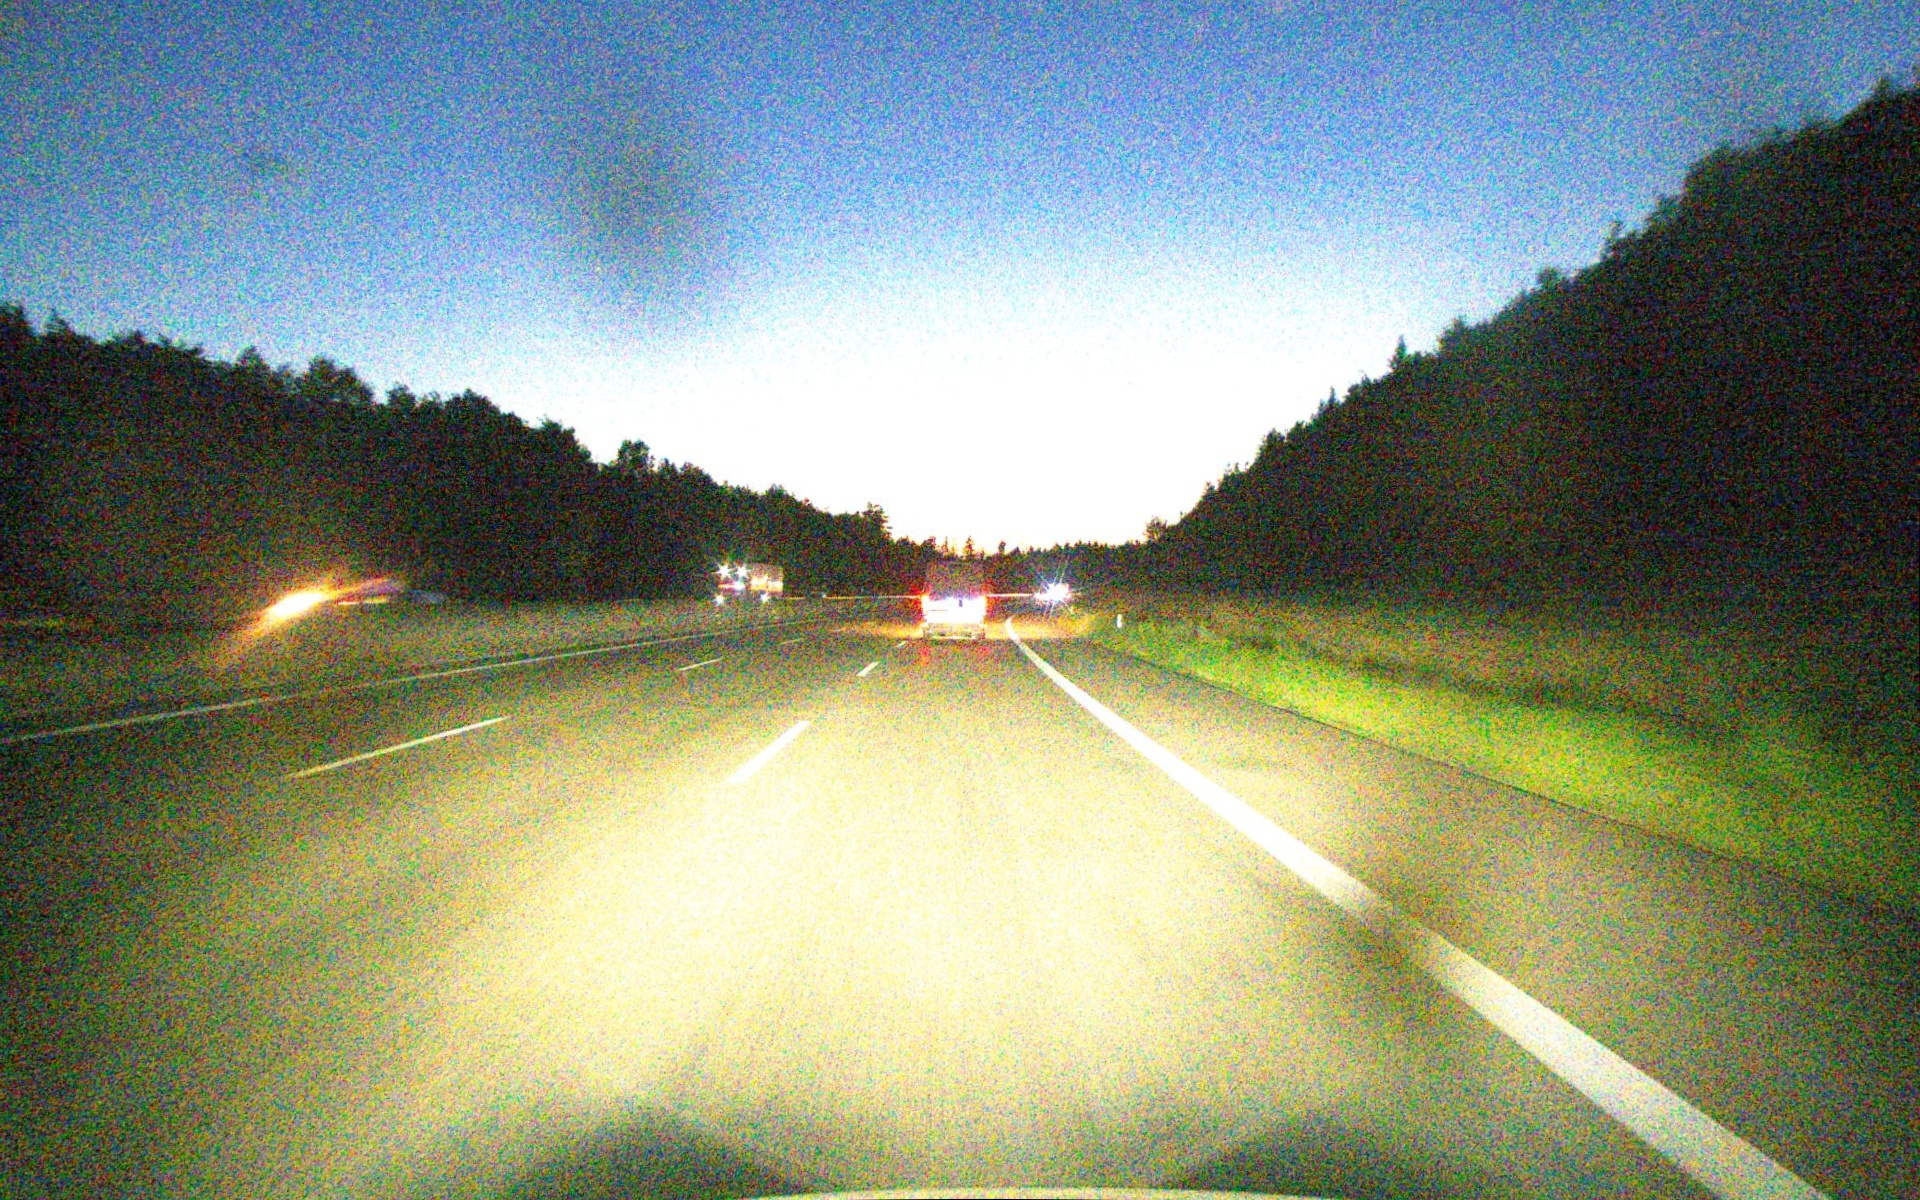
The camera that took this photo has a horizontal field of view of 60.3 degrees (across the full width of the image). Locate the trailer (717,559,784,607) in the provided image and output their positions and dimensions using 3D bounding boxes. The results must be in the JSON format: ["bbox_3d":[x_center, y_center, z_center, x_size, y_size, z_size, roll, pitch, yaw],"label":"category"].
[{"bbox_3d":[-19.095,-1.437,151.990,3.469,4.070,17.286,0,0,2],"label":"trailer"}]

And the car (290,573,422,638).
[{"bbox_3d":[-18.476,0.171,50.868,1.953,1.853,5.687,0,0,0],"label":"car"}]

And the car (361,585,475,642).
[{"bbox_3d":[-15.282,0.372,46.847,1.864,1.531,4.273,0,0,-1],"label":"car"}]

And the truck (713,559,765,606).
[{"bbox_3d":[-19.313,-1.484,145.067,3.429,4.039,6.701,0,0,2],"label":"truck"}]

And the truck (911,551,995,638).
[{"bbox_3d":[-0.261,-0.160,55.404,2.576,2.670,8.683,0,0,-1],"label":"truck"}]
